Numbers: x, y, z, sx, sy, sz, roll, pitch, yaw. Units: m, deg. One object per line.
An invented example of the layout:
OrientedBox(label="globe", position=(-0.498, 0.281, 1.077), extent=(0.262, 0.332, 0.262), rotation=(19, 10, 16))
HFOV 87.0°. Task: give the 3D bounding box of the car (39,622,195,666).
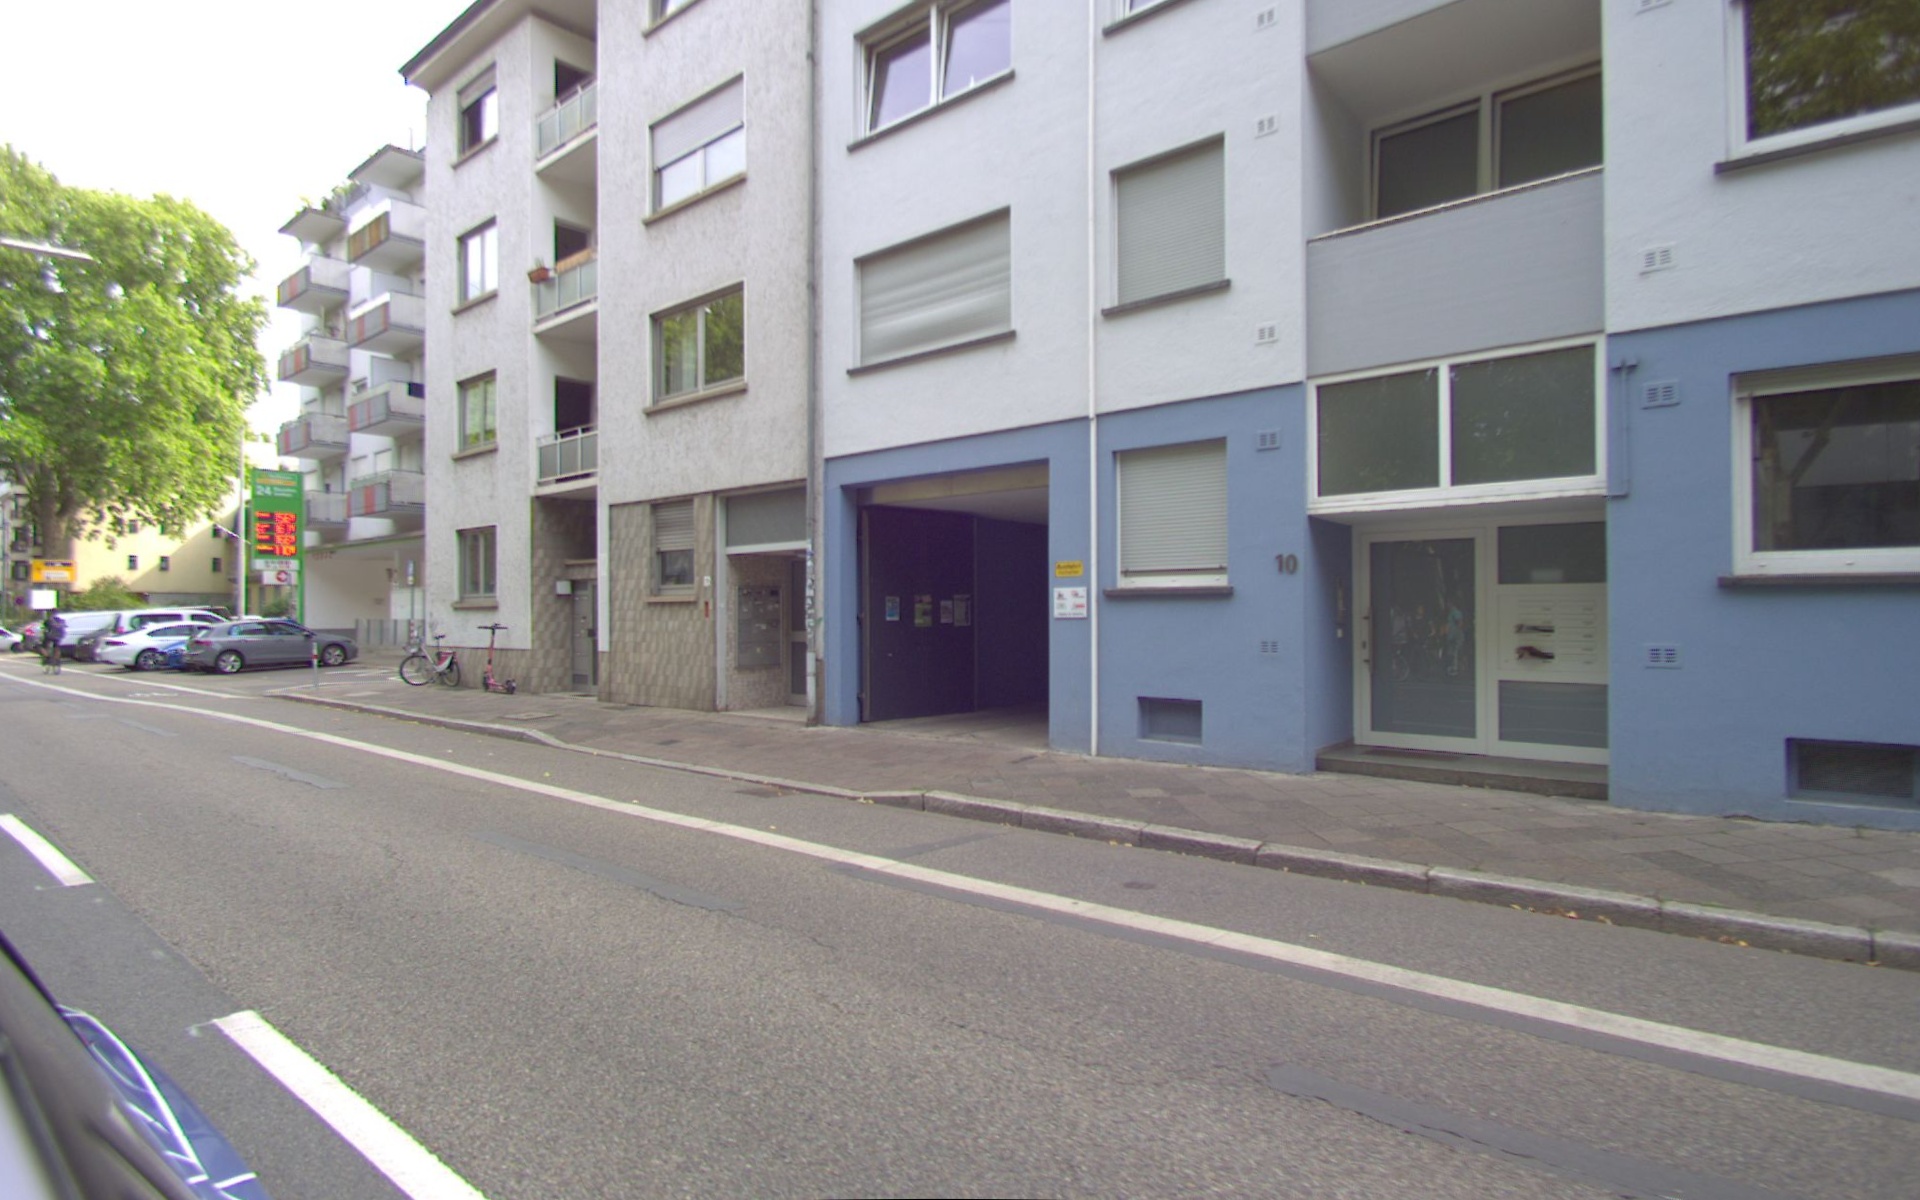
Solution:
OrientedBox(label="car", position=(-34.559, 1.763, 41.578), extent=(1.873, 1.481, 4.656), rotation=(-2, 1, 41))

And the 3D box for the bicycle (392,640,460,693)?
OrientedBox(label="bicycle", position=(-10.385, 1.276, 19.667), extent=(1.661, 0.957, 0.591), rotation=(-2, -1, 41))

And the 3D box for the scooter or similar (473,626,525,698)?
OrientedBox(label="scooter or similar", position=(-8.226, 1.084, 18.040), extent=(1.201, 1.231, 0.346), rotation=(-2, -1, 41))

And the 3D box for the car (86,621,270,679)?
OrientedBox(label="car", position=(-24.305, 1.506, 31.579), extent=(1.873, 1.462, 4.227), rotation=(-2, 1, 41))

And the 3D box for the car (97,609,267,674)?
OrientedBox(label="car", position=(-25.883, 1.335, 33.779), extent=(1.923, 1.862, 4.168), rotation=(-2, 1, 41))

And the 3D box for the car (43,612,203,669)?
OrientedBox(label="car", position=(-32.855, 1.541, 39.828), extent=(1.949, 1.873, 4.568), rotation=(-2, 1, 41))

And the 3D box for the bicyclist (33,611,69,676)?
OrientedBox(label="bicyclist", position=(-26.260, 1.243, 29.235), extent=(1.045, 1.824, 0.645), rotation=(-1, 0, 41))

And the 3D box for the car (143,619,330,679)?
OrientedBox(label="car", position=(-21.847, 1.432, 30.691), extent=(1.909, 1.462, 4.256), rotation=(-2, 1, 41))

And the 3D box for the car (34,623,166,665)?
OrientedBox(label="car", position=(-37.857, 1.890, 44.629), extent=(1.718, 1.522, 4.221), rotation=(-2, 1, 41))

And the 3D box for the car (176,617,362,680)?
OrientedBox(label="car", position=(-20.016, 1.355, 29.440), extent=(1.836, 1.525, 4.108), rotation=(-2, 1, 41))

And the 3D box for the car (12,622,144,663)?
OrientedBox(label="car", position=(-41.287, 1.955, 47.449), extent=(1.753, 1.618, 4.471), rotation=(-2, 1, 41))

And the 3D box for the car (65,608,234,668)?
OrientedBox(label="car", position=(-30.744, 1.399, 38.512), extent=(1.993, 1.948, 4.717), rotation=(-2, 1, 41))

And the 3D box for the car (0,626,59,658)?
OrientedBox(label="car", position=(-51.087, 2.229, 54.120), extent=(3.938, 1.660, 1.939), rotation=(0, -1, -6))

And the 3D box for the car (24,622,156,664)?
OrientedBox(label="car", position=(-39.488, 1.922, 45.994), extent=(1.732, 1.560, 4.316), rotation=(-2, 1, 41))

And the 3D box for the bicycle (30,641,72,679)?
OrientedBox(label="bicycle", position=(-26.275, 1.719, 29.249), extent=(2.075, 1.022, 0.639), rotation=(-1, 0, 41))
